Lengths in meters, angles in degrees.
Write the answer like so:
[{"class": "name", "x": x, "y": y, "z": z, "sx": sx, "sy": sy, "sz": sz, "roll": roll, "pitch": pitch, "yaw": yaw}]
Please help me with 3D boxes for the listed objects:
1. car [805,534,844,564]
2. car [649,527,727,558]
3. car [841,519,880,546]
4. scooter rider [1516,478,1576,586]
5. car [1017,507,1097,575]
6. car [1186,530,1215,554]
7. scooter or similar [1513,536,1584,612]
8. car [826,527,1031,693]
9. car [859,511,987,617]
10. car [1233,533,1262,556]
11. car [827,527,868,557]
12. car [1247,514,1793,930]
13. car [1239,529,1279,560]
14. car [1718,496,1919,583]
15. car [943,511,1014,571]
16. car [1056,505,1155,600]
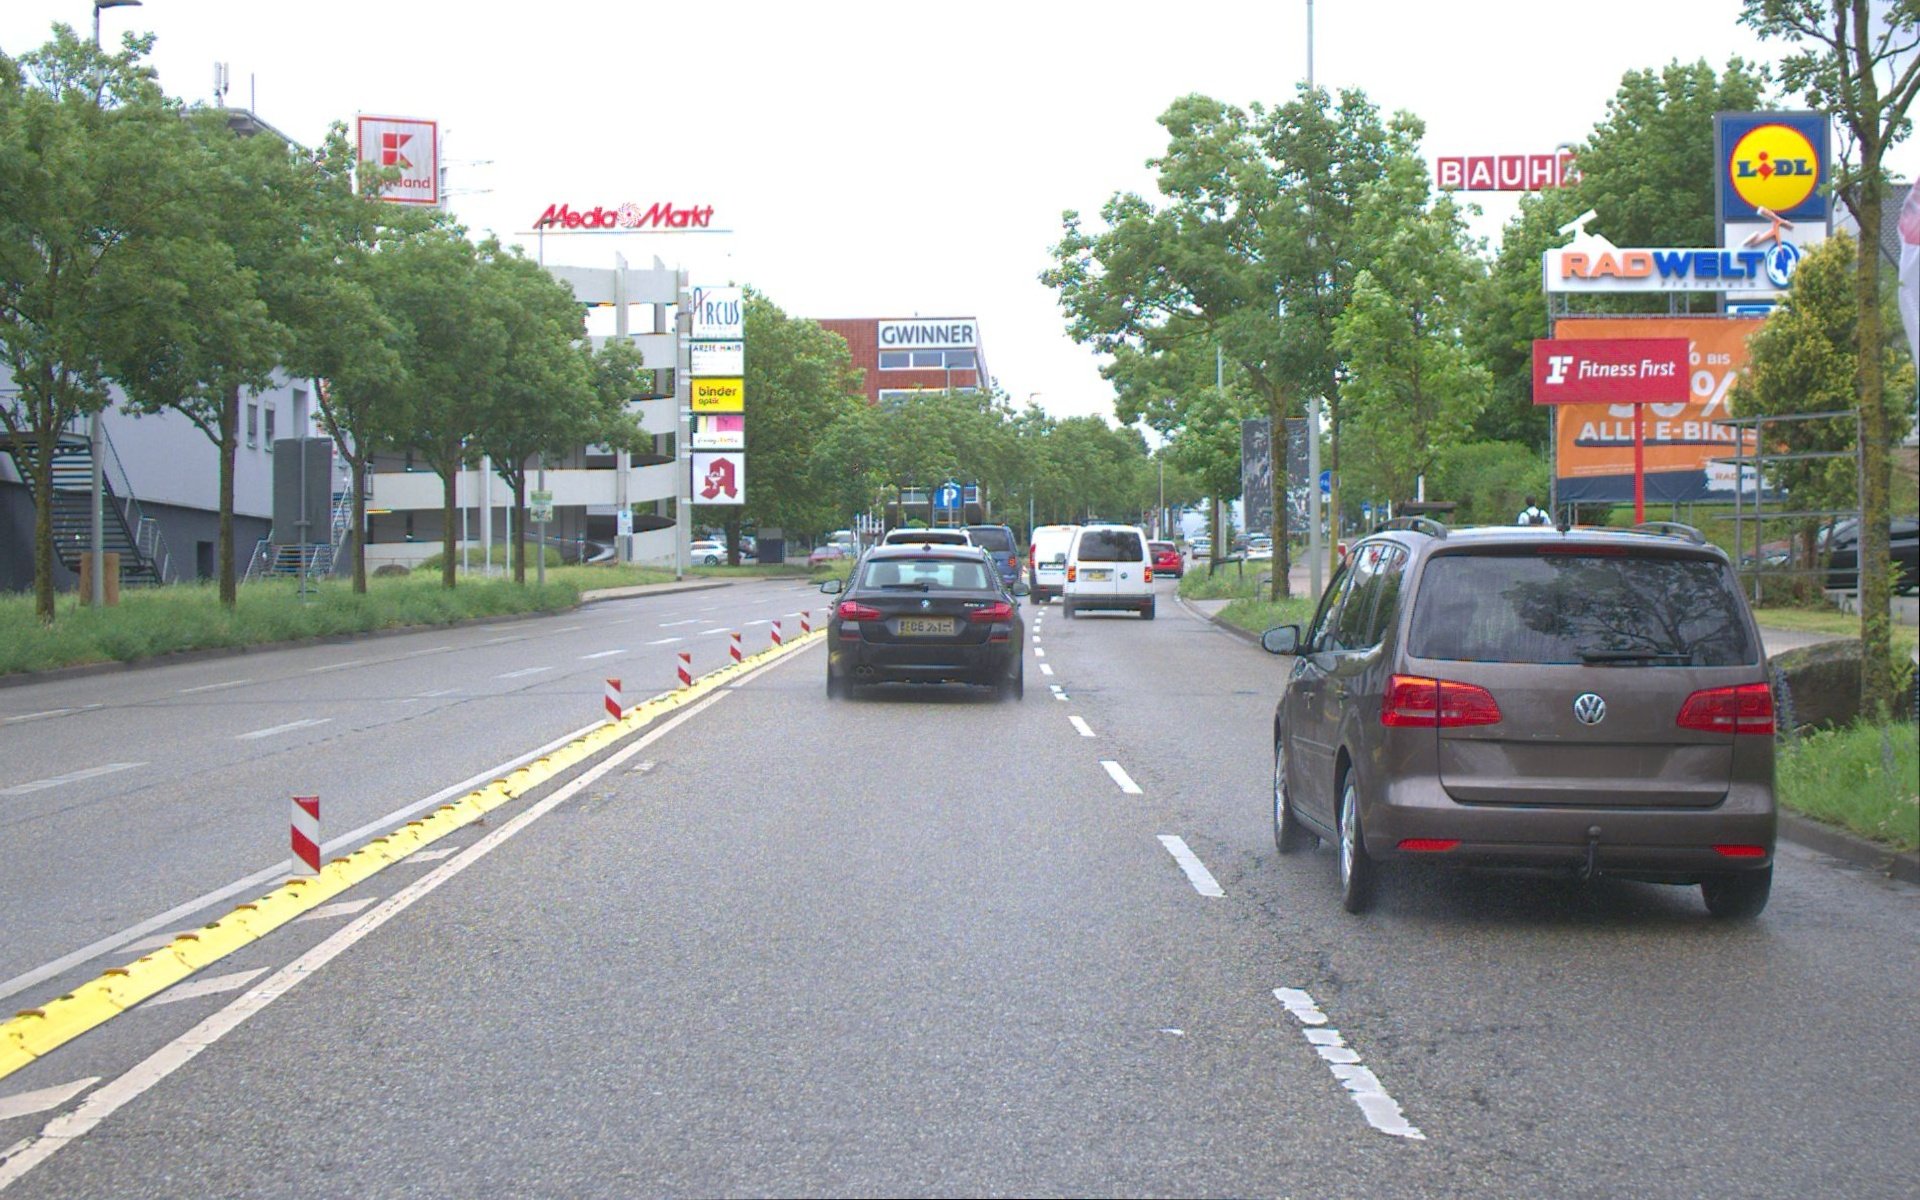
[{"class": "car", "x": -7.946, "y": -3.028, "z": 202.290, "sx": 1.933, "sy": 1.603, "sz": 4.711, "roll": 1, "pitch": 3, "yaw": 2}, {"class": "car", "x": -16.409, "y": -3.470, "z": 207.707, "sx": 4.598, "sy": 1.740, "sz": 1.967, "roll": 1, "pitch": 2, "yaw": -1}, {"class": "car", "x": -6.877, "y": -4.680, "z": 237.593, "sx": 2.138, "sy": 1.767, "sz": 4.608, "roll": 1, "pitch": 3, "yaw": 5}, {"class": "scooter rider", "x": 10.106, "y": -1.174, "z": 59.290, "sx": 0.694, "sy": 1.814, "sz": 0.858, "roll": -3, "pitch": 2, "yaw": -12}, {"class": "car", "x": 2.275, "y": -1.376, "z": 80.989, "sx": 1.794, "sy": 1.505, "sz": 4.000, "roll": 1, "pitch": 1, "yaw": 1}, {"class": "car", "x": 15.799, "y": -3.802, "z": 225.635, "sx": 1.794, "sy": 1.505, "sz": 4.000, "roll": 1, "pitch": 1, "yaw": 3}, {"class": "scooter or similar", "x": 10.144, "y": -0.461, "z": 59.282, "sx": 0.694, "sy": 1.259, "sz": 1.401, "roll": -3, "pitch": 2, "yaw": -12}, {"class": "car", "x": -0.306, "y": 0.048, "z": 33.284, "sx": 1.827, "sy": 1.463, "sz": 4.000, "roll": 1, "pitch": 1, "yaw": 0}, {"class": "car", "x": -0.524, "y": -0.545, "z": 52.081, "sx": 1.794, "sy": 1.505, "sz": 4.000, "roll": 1, "pitch": 1, "yaw": 1}, {"class": "car", "x": 19.661, "y": -3.809, "z": 234.853, "sx": 1.794, "sy": 1.505, "sz": 4.000, "roll": 1, "pitch": 1, "yaw": 3}, {"class": "car", "x": -7.081, "y": -3.677, "z": 216.689, "sx": 2.039, "sy": 1.756, "sz": 4.945, "roll": 1, "pitch": 3, "yaw": 4}, {"class": "car", "x": 2.329, "y": 0.429, "z": 15.322, "sx": 1.685, "sy": 1.575, "sz": 4.219, "roll": 1, "pitch": 1, "yaw": 0}, {"class": "car", "x": 15.004, "y": -2.767, "z": 172.600, "sx": 1.794, "sy": 1.505, "sz": 4.000, "roll": 1, "pitch": 1, "yaw": 3}, {"class": "car", "x": 15.722, "y": -1.084, "z": 60.881, "sx": 4.089, "sy": 1.433, "sz": 1.798, "roll": -1, "pitch": 3, "yaw": -12}, {"class": "car", "x": 0.479, "y": -1.559, "z": 91.052, "sx": 1.794, "sy": 1.505, "sz": 4.000, "roll": 1, "pitch": 1, "yaw": 0}, {"class": "car", "x": 2.816, "y": -0.949, "z": 66.959, "sx": 1.827, "sy": 1.753, "sz": 4.000, "roll": 1, "pitch": 1, "yaw": 2}]
